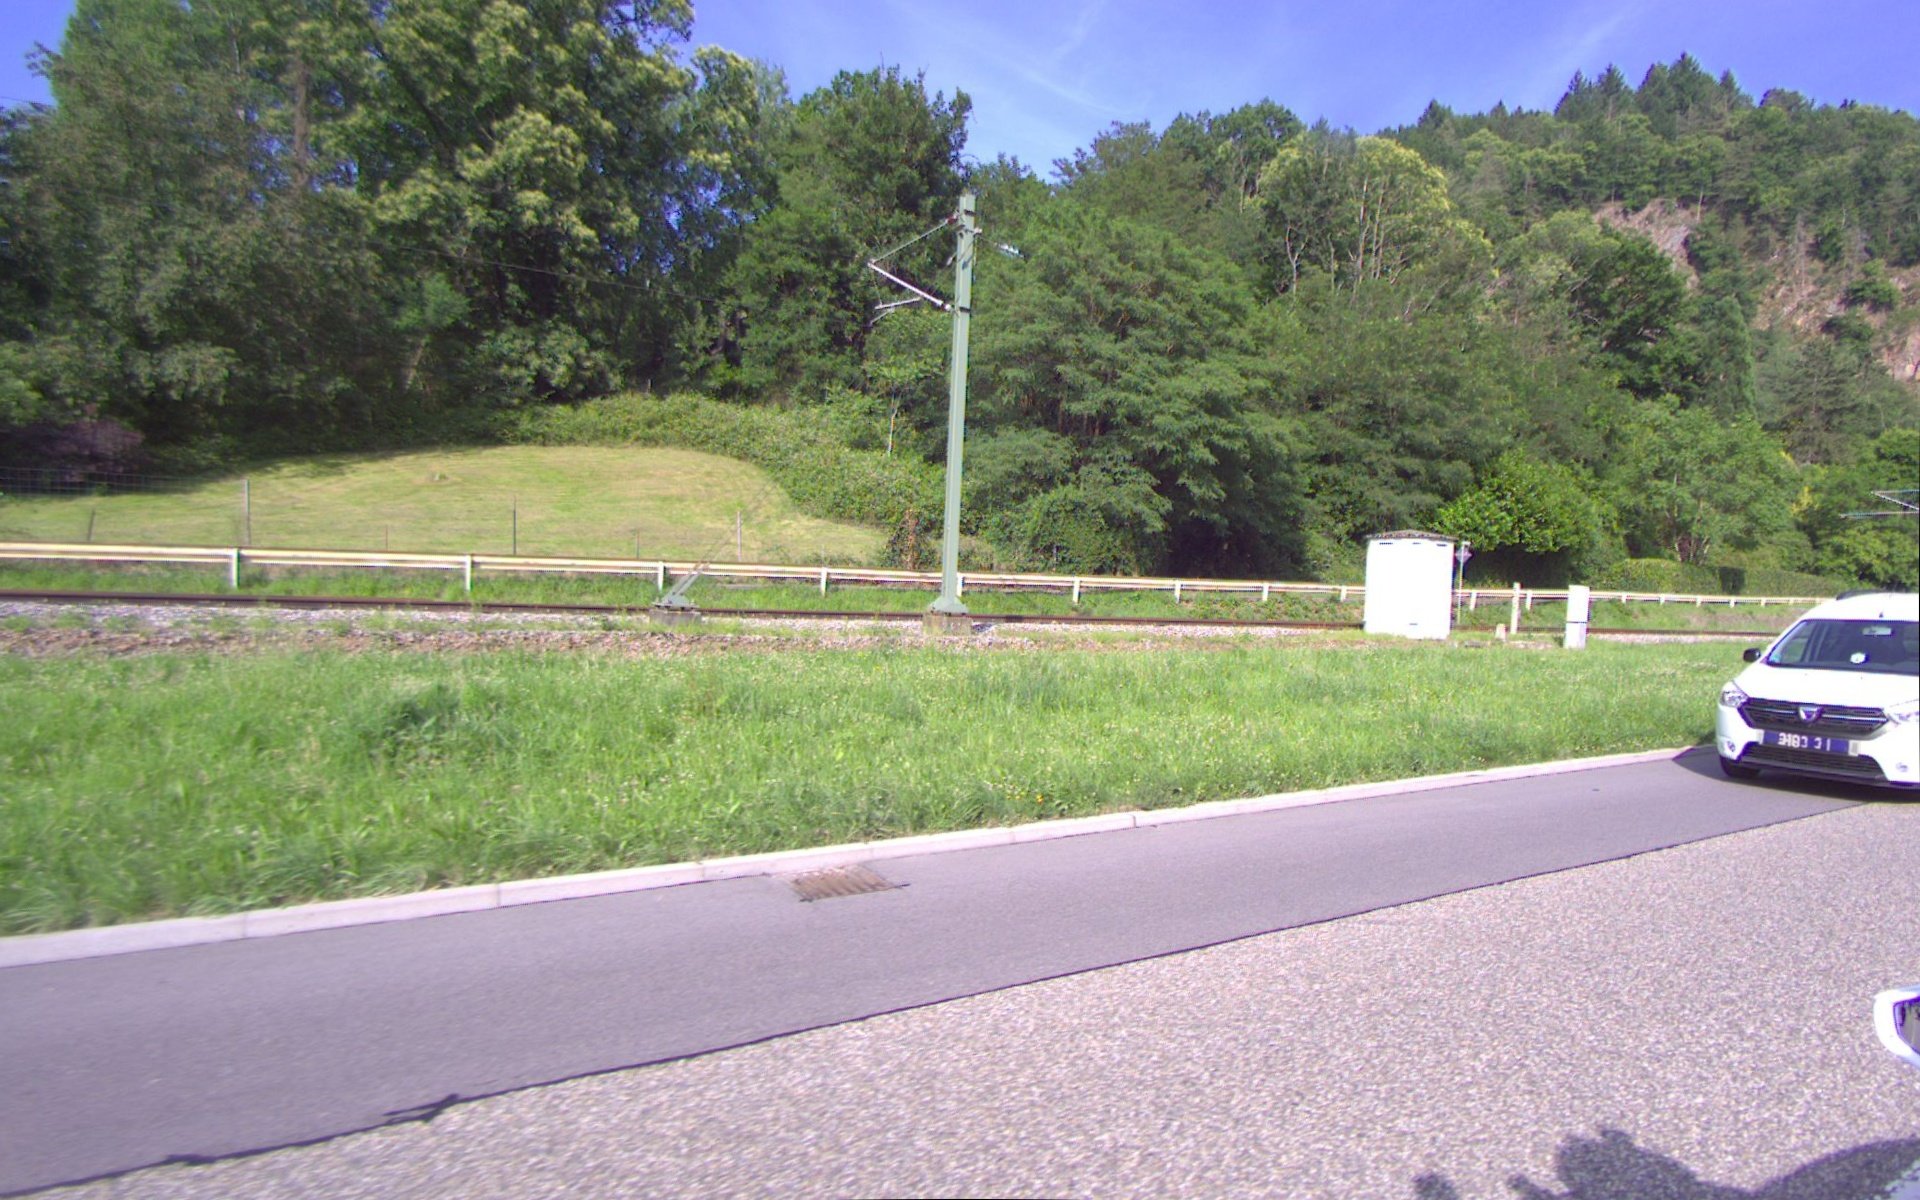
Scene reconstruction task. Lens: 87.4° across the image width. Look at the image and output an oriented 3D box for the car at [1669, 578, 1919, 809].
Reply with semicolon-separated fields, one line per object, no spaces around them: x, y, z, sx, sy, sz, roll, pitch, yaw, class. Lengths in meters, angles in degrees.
9.047;0.752;9.785;4.547;1.805;1.860;1;0;-32;car
